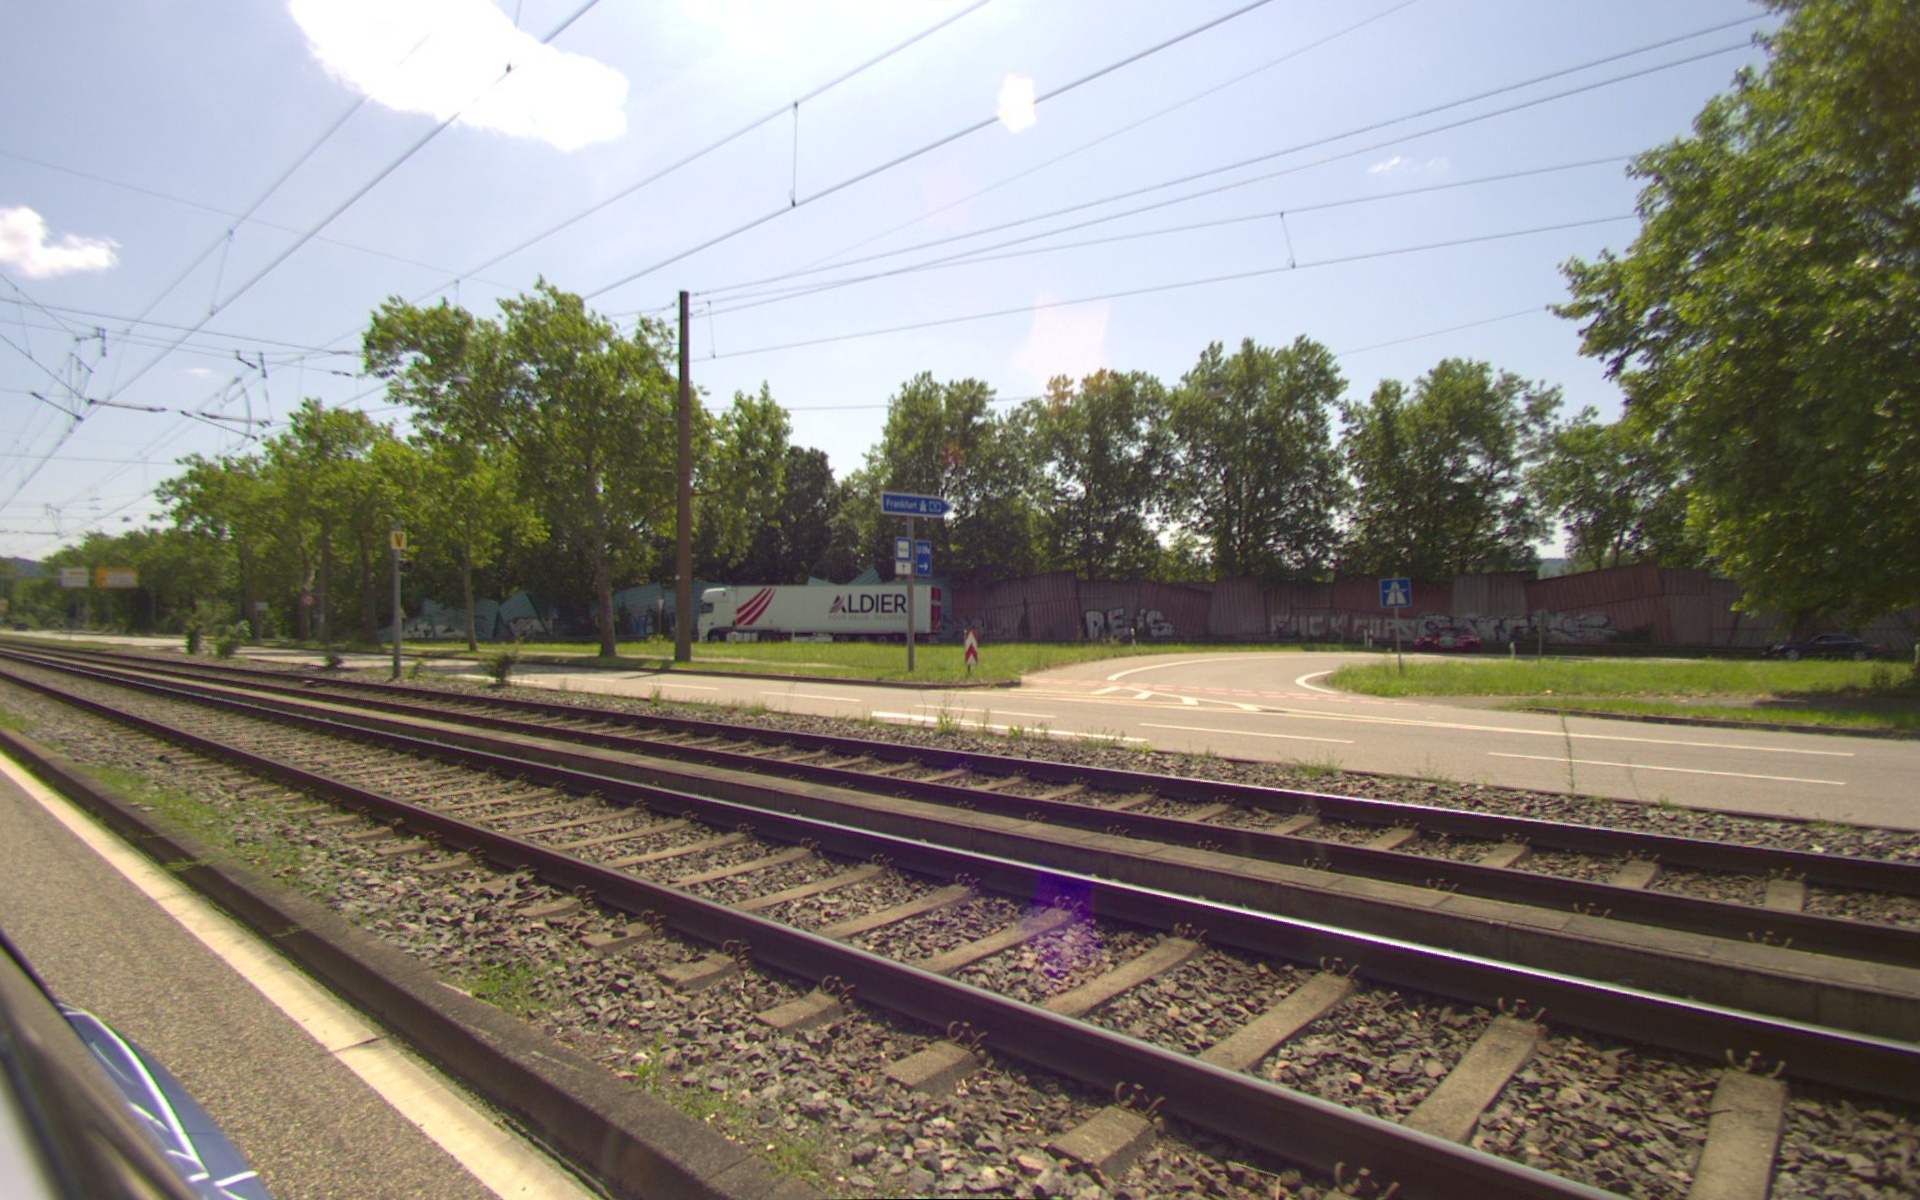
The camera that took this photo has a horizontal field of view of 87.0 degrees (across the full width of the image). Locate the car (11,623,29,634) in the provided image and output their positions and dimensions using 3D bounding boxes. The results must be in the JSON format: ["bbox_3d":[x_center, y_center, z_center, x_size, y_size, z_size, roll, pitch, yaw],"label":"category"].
[{"bbox_3d":[-165.463,5.013,178.102,3.998,1.807,1.973,-1,0,41],"label":"car"}]

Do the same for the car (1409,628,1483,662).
[{"bbox_3d":[26.382,2.408,55.070,3.369,1.805,1.556,-1,-2,17],"label":"car"}]

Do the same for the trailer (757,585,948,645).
[{"bbox_3d":[-6.974,1.037,65.730,12.001,3.683,3.370,-1,-2,16],"label":"trailer"}]

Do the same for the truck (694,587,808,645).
[{"bbox_3d":[-13.963,1.113,67.755,6.698,3.730,3.401,-1,-2,16],"label":"truck"}]

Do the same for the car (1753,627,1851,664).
[{"bbox_3d":[41.887,2.242,50.421,3.369,1.805,1.556,-1,-2,17],"label":"car"}]
